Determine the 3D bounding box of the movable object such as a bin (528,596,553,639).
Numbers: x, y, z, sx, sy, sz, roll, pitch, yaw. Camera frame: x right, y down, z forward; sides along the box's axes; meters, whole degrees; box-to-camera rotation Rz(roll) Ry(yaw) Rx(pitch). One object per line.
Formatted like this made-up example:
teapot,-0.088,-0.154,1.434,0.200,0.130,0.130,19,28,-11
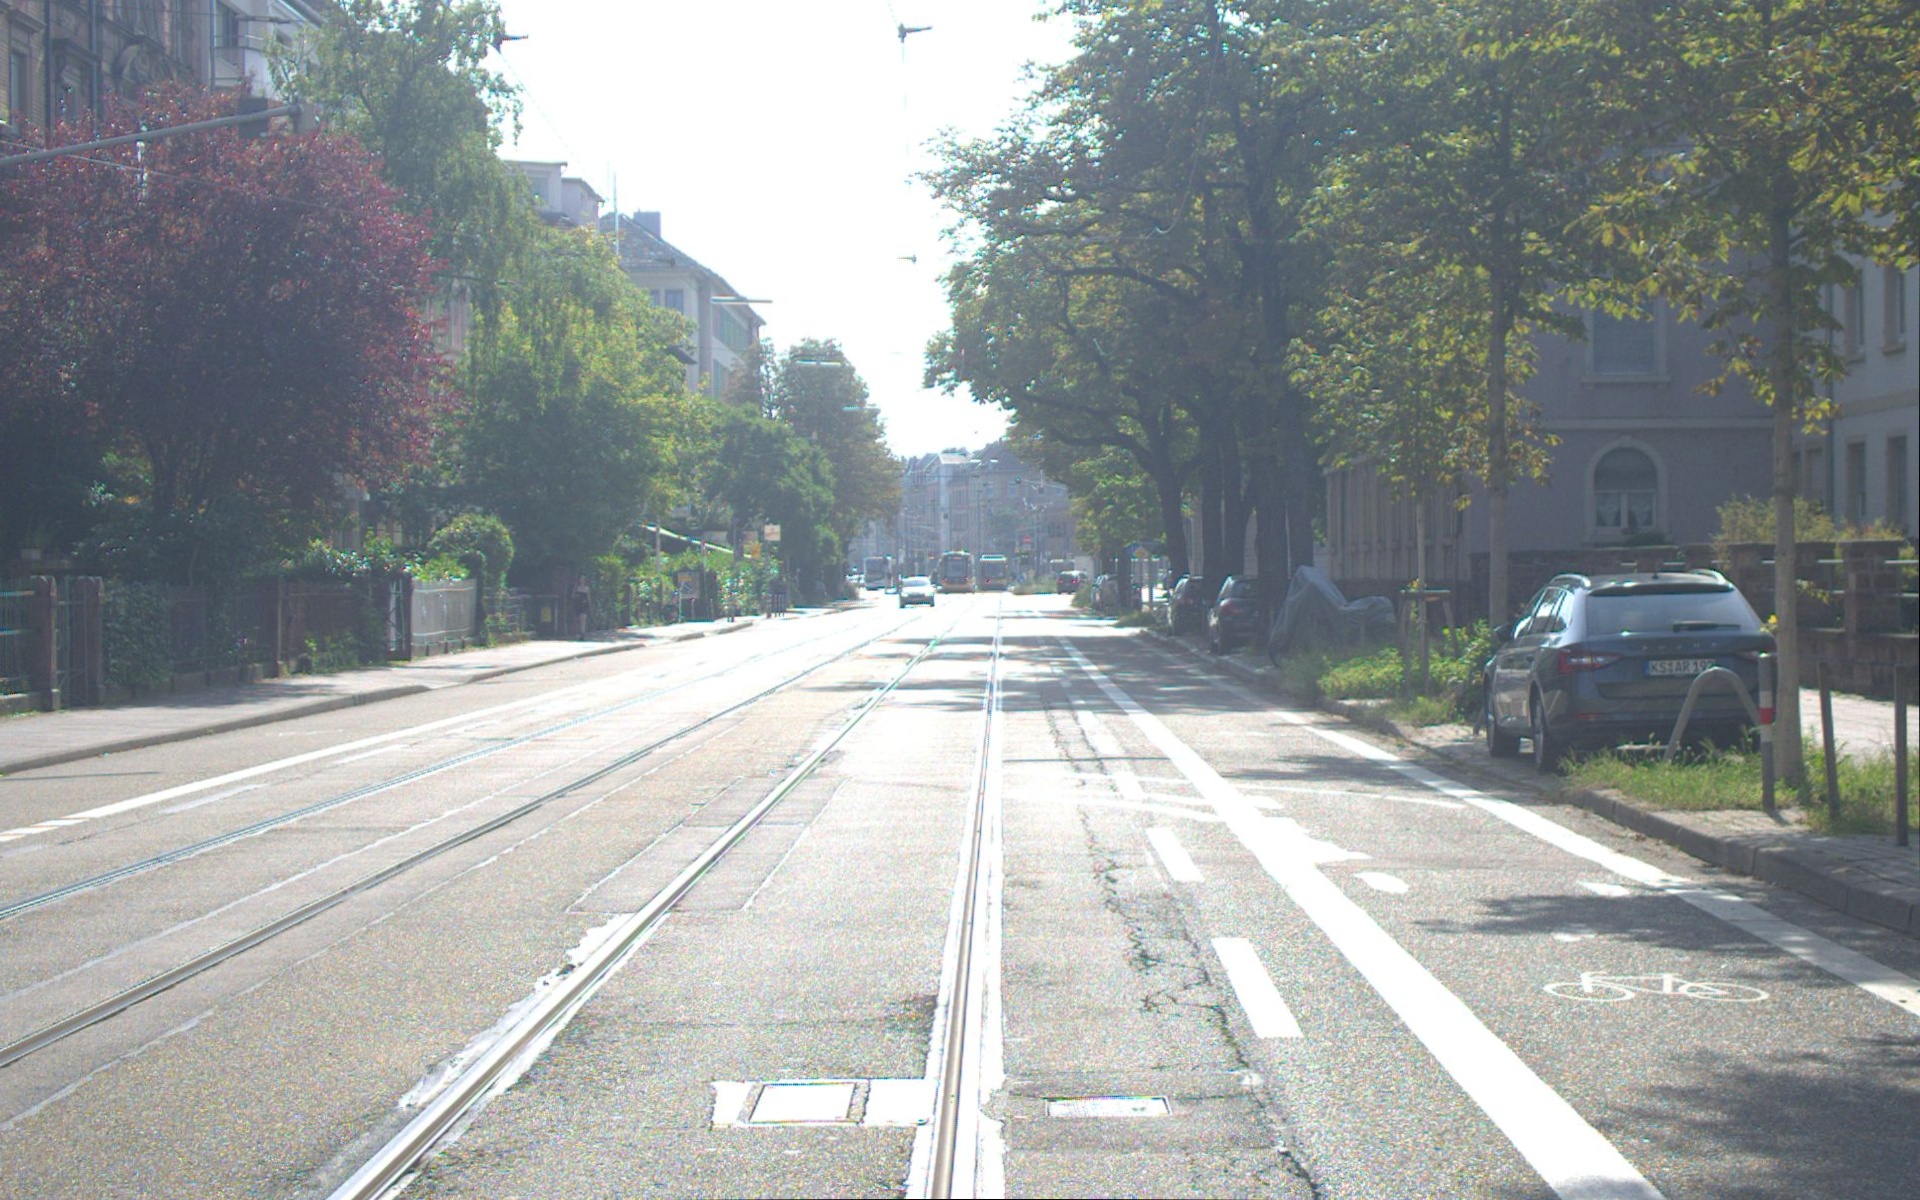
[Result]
movable object such as a bin,-10.612,0.452,86.946,0.589,1.074,0.705,0,0,-5

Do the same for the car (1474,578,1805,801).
car,5.197,0.629,26.875,1.743,1.555,4.719,-1,0,2

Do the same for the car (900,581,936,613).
car,-2.188,-0.152,179.368,1.727,1.632,3.984,0,0,1

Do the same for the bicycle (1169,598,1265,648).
bicycle,5.858,0.523,78.495,2.106,1.101,0.563,0,0,-6

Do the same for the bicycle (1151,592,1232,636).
bicycle,6.232,0.370,92.663,2.106,1.101,0.616,-2,0,0

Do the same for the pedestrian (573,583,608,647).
pedestrian,-9.262,0.366,86.265,0.752,1.586,0.878,0,0,2

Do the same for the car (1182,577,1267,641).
car,6.300,0.230,82.186,1.772,1.468,3.974,-1,0,1

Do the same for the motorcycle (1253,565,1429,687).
motorcycle,5.453,0.385,49.342,0.911,1.668,2.418,-3,1,-44

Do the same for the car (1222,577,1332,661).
car,5.975,0.345,65.164,1.727,1.499,3.984,-2,0,1

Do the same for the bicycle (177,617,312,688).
bicycle,-11.359,0.836,54.615,2.015,1.100,0.588,0,0,-2

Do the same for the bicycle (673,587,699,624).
bicycle,-9.055,0.178,113.655,0.561,1.217,2.113,0,0,3

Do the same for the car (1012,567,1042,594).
car,5.064,-1.472,258.480,1.994,2.007,3.999,1,0,4
